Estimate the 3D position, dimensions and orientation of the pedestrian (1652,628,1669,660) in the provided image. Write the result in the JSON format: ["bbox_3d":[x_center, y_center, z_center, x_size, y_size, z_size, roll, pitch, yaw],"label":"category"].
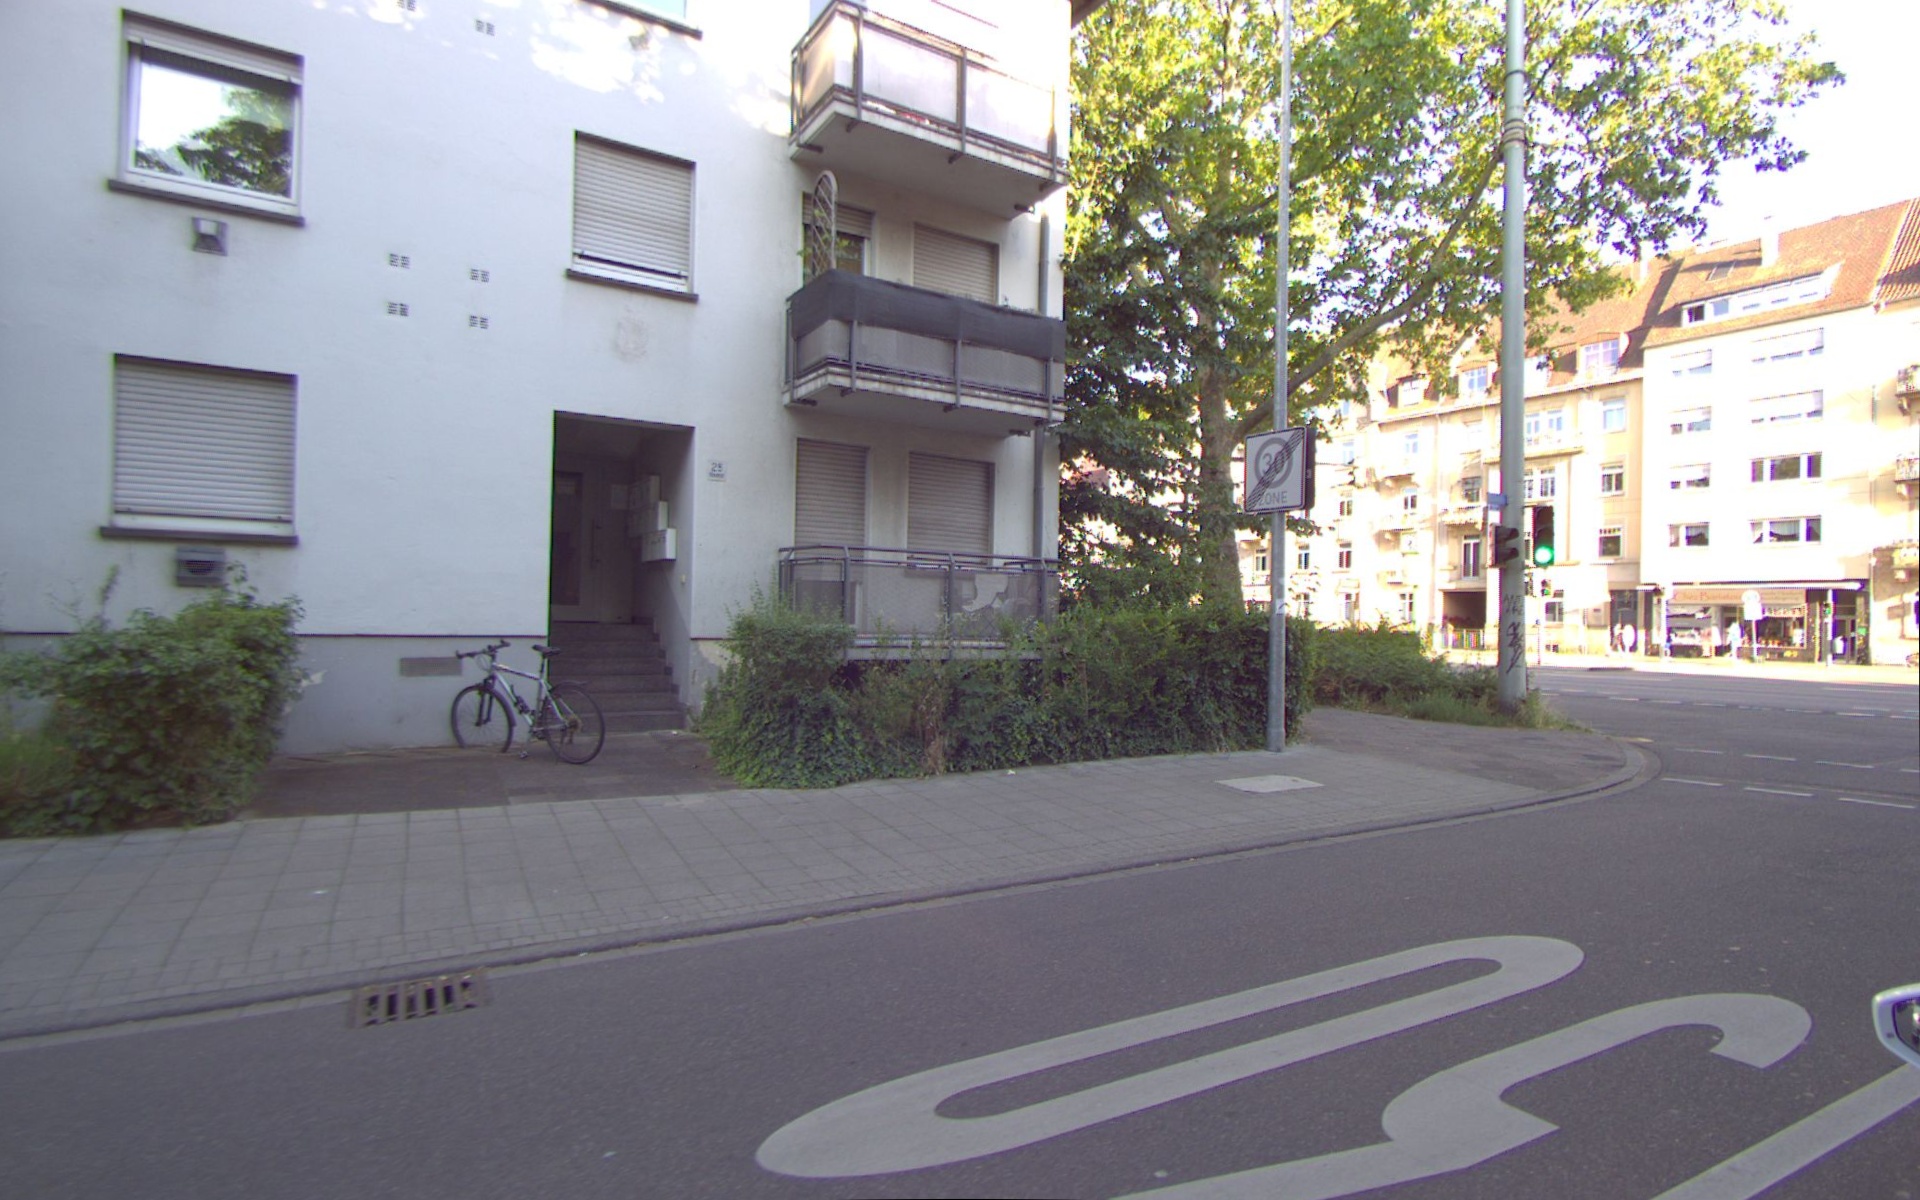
[{"bbox_3d":[35.597,2.251,51.037,0.463,1.584,0.559,2,0,-36],"label":"pedestrian"}]

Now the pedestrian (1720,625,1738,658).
[{"bbox_3d":[37.687,2.055,49.241,0.463,1.584,0.559,2,0,-36],"label":"pedestrian"}]

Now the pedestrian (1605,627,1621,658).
[{"bbox_3d":[34.056,2.204,52.396,0.463,1.584,0.559,2,0,-36],"label":"pedestrian"}]

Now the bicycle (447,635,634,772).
[{"bbox_3d":[-3.724,0.885,8.909,1.577,1.033,0.477,3,0,20],"label":"bicycle"}]

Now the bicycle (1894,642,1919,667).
[{"bbox_3d":[41.675,2.376,43.462,0.488,1.042,1.796,1,-1,-33],"label":"bicycle"}]

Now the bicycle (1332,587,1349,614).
[{"bbox_3d":[25.246,0.013,66.601,0.553,1.760,0.882,2,0,-28],"label":"bicycle"}]

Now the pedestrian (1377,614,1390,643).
[{"bbox_3d":[27.572,1.872,65.374,0.633,1.862,0.473,2,0,-30],"label":"pedestrian"}]
